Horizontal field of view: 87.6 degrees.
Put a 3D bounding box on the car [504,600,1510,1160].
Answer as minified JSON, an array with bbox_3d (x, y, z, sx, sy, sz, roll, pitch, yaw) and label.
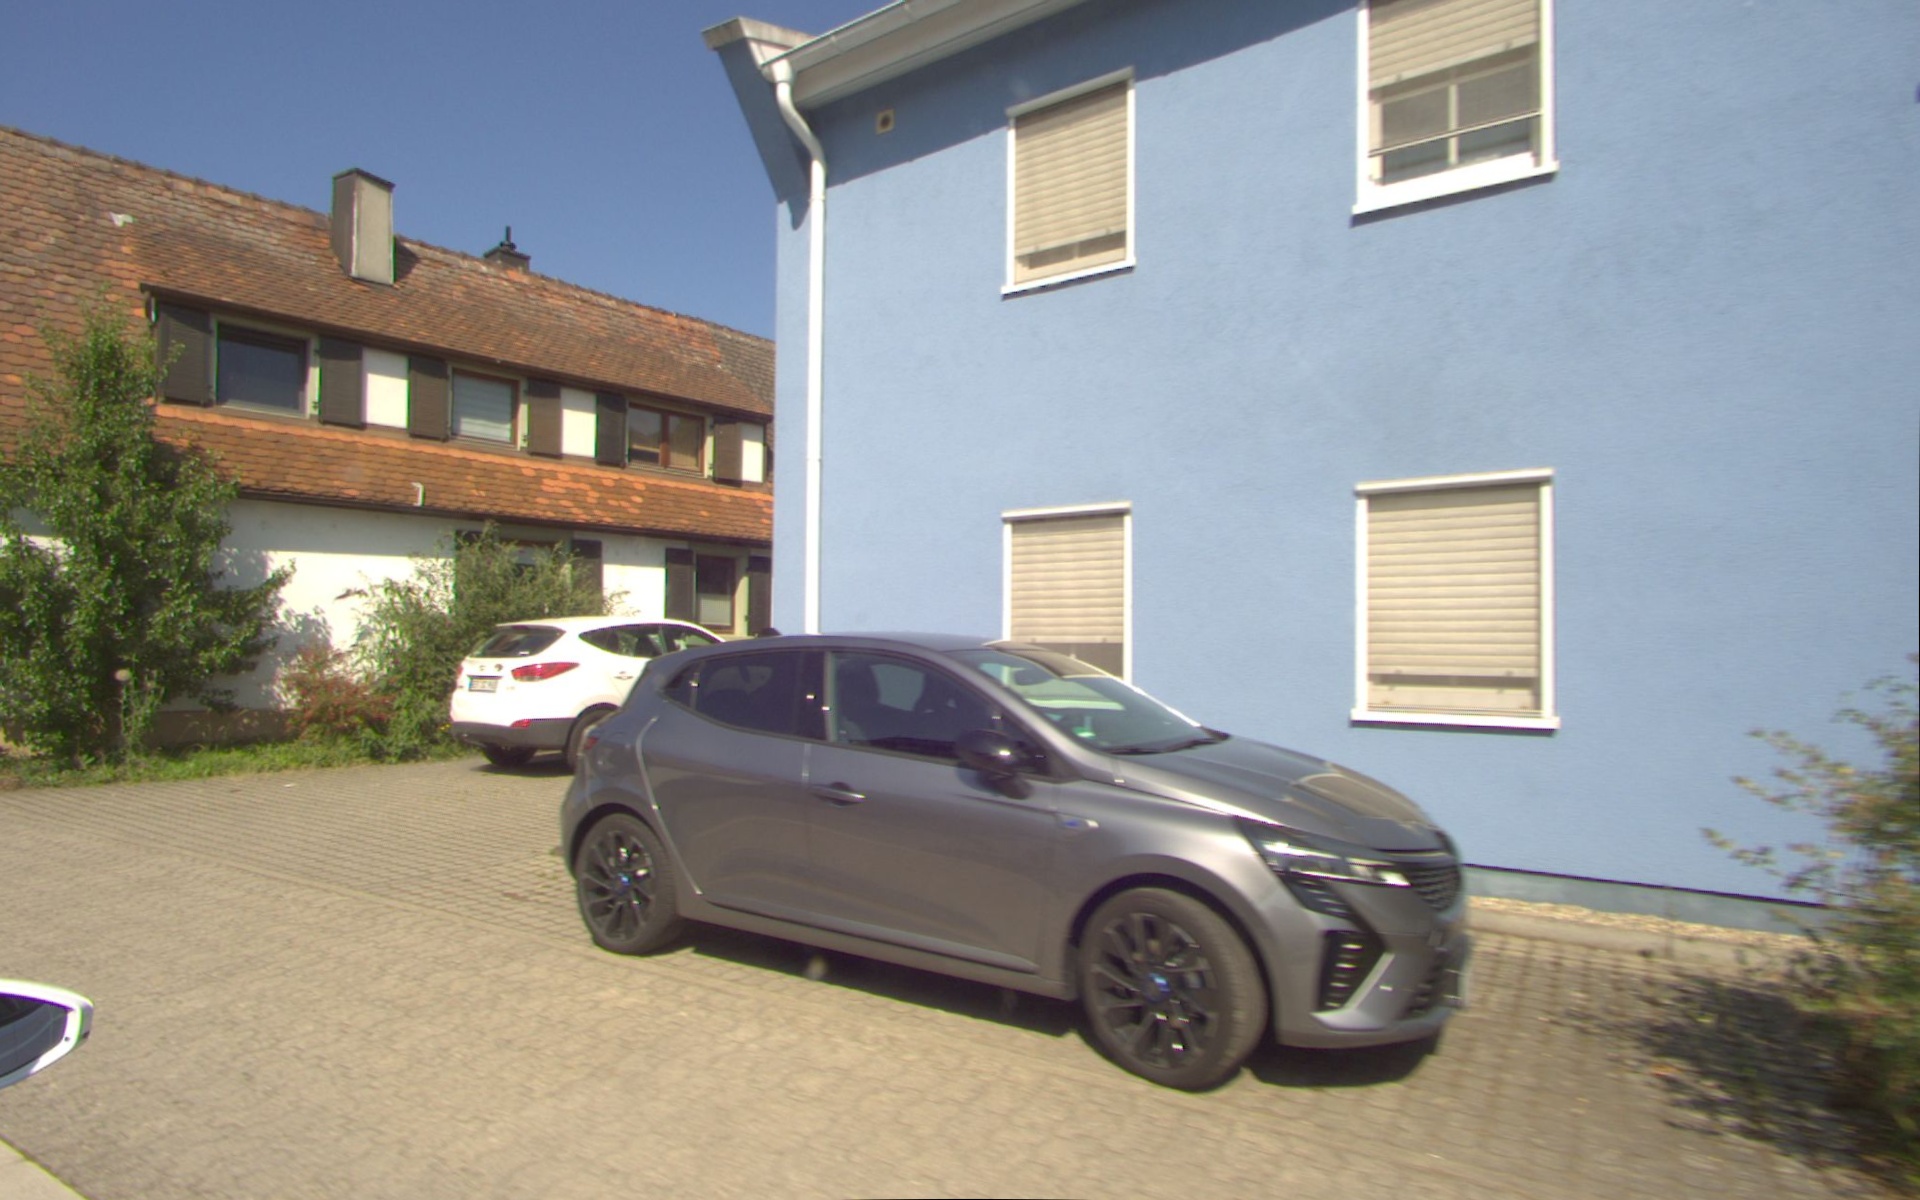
[{"bbox_3d":[0.044,0.817,4.383,4.085,1.437,1.688,-1,-4,31],"label":"car"}]

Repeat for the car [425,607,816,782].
[{"bbox_3d":[-3.786,1.021,11.873,1.788,1.678,4.165,-1,-3,35],"label":"car"}]
